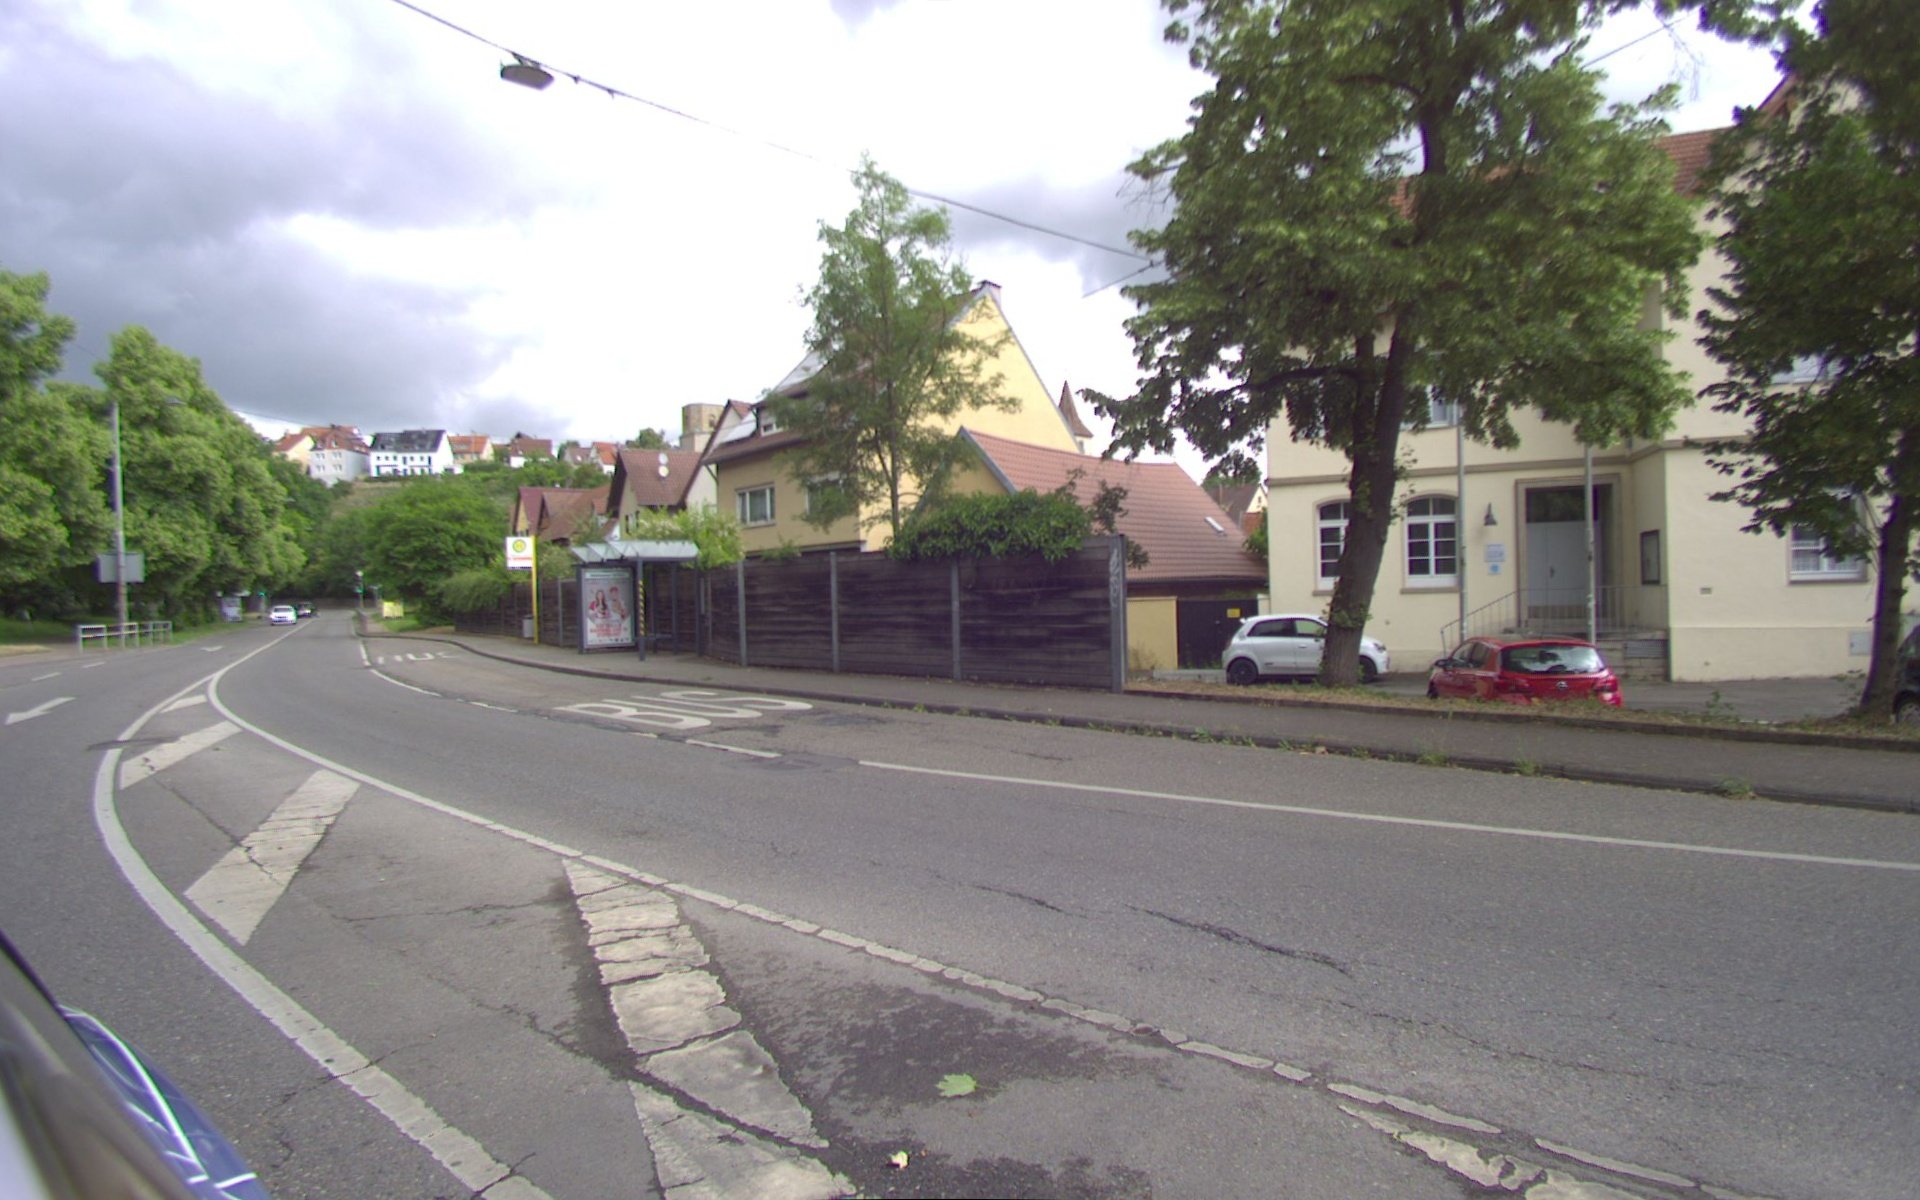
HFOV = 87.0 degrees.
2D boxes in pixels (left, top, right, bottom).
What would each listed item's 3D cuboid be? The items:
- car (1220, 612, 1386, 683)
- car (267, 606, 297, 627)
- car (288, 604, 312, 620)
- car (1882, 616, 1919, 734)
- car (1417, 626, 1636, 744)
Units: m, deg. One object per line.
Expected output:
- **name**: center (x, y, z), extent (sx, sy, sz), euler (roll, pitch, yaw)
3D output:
- **car**: center (7.719, 1.051, 22.896), extent (3.411, 1.490, 1.600), euler (-1, 0, 21)
- **car**: center (-52.766, 1.269, 78.777), extent (1.735, 1.536, 3.694), euler (-1, 0, -30)
- **car**: center (-67.811, 1.210, 104.029), extent (1.734, 1.596, 3.695), euler (-1, 0, -28)
- **car**: center (12.633, 0.931, 11.314), extent (1.626, 1.450, 3.567), euler (-1, 0, 7)
- **car**: center (8.120, 1.143, 14.892), extent (1.644, 1.393, 3.708), euler (-1, 0, 10)
